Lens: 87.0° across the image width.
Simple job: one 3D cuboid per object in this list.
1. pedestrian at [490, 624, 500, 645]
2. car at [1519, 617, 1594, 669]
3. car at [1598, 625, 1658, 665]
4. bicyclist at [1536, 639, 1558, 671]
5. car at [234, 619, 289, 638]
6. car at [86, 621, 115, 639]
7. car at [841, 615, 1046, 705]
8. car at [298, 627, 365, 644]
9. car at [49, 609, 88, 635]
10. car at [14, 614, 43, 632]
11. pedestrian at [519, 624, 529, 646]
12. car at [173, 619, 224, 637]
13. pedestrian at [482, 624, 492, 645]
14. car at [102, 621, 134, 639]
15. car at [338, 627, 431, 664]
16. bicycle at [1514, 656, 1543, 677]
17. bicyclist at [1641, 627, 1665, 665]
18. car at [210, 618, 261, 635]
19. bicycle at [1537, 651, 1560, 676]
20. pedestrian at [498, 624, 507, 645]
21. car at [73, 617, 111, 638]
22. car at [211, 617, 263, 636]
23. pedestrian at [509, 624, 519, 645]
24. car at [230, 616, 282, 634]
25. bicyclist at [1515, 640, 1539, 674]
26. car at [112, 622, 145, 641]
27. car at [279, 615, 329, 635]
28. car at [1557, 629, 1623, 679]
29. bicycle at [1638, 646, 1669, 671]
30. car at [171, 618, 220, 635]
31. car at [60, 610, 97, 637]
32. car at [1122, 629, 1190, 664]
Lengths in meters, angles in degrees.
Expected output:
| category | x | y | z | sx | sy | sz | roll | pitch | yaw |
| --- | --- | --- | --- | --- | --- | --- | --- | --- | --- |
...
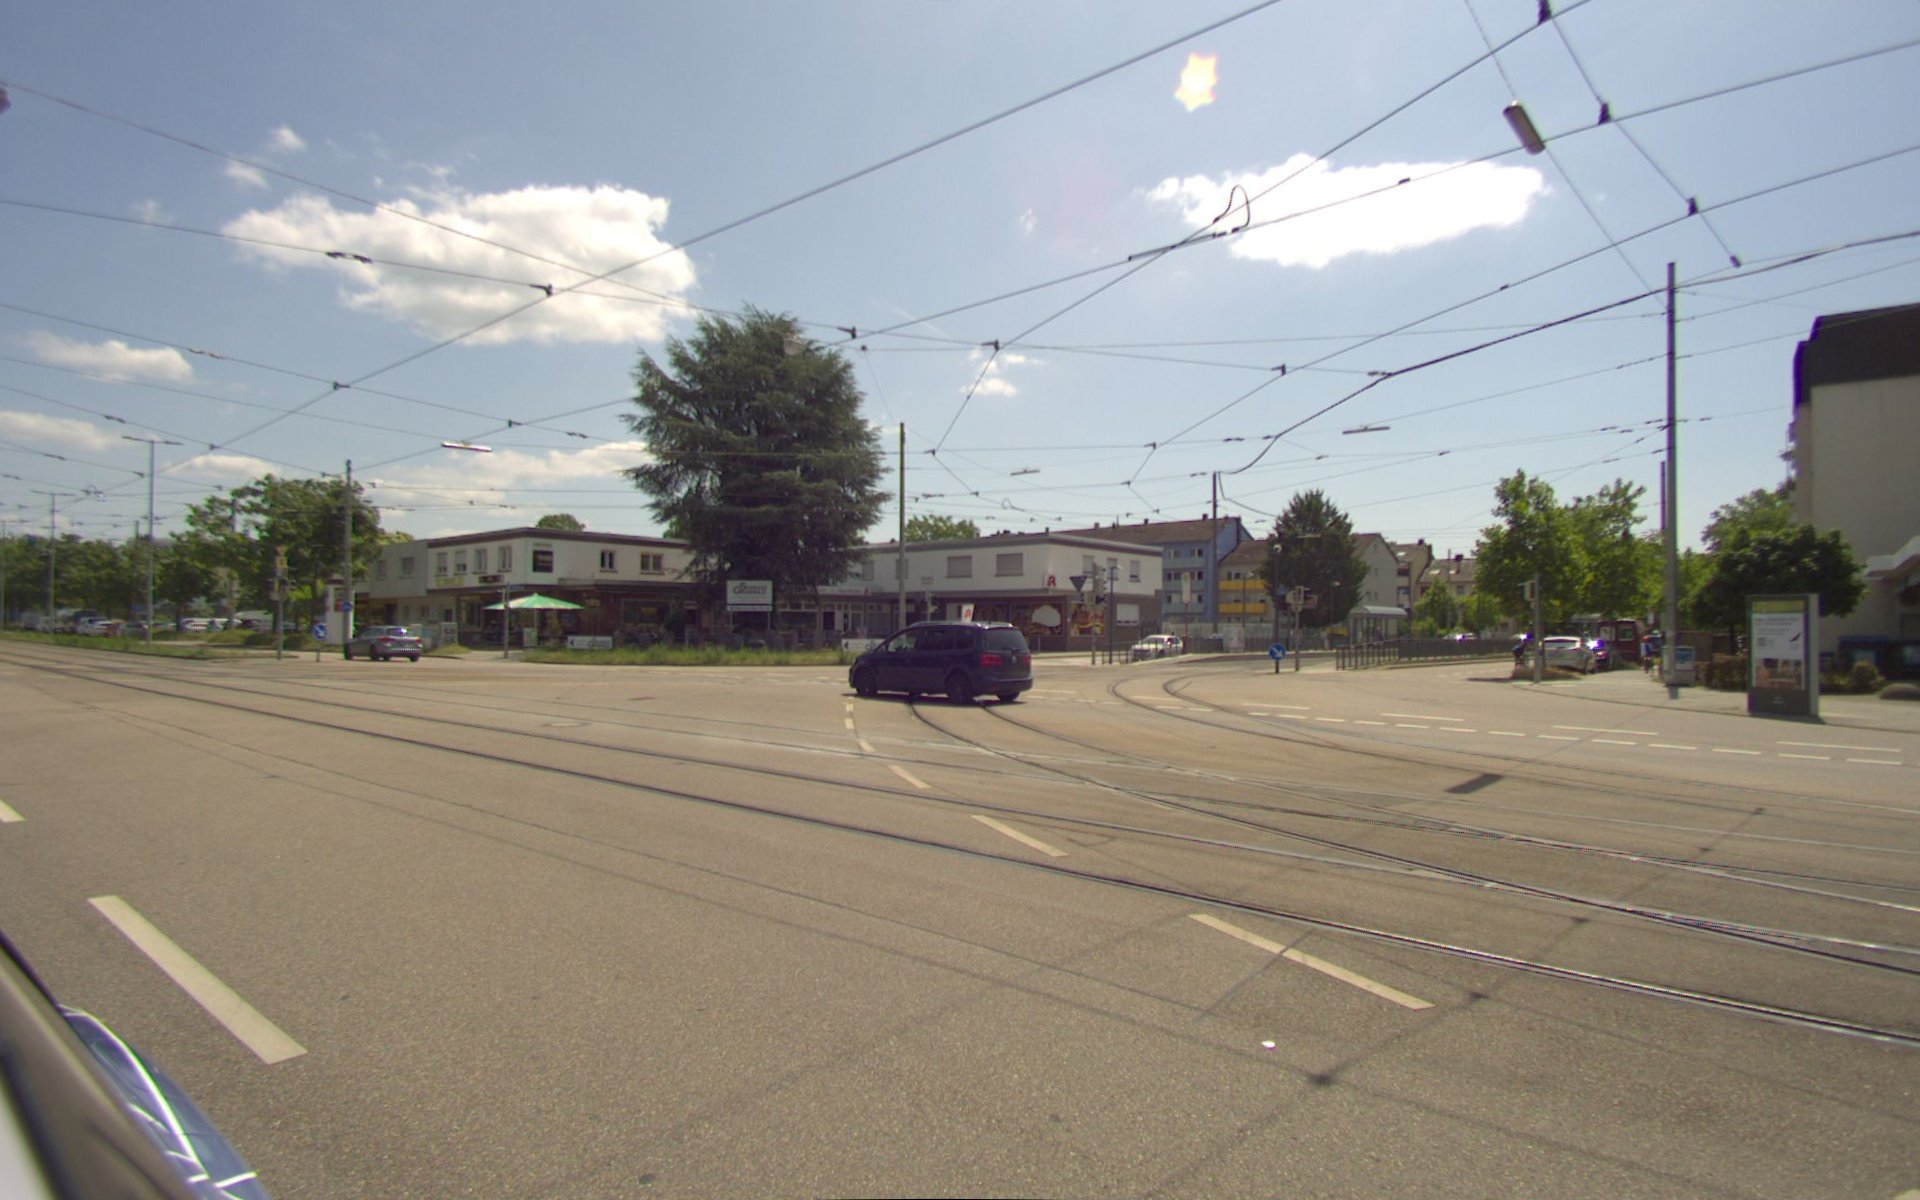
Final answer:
| category | x | y | z | sx | sy | sz | roll | pitch | yaw |
| --- | --- | --- | --- | --- | --- | --- | --- | --- | --- |
| pedestrian | -28.461 | 2.119 | 61.905 | 0.528 | 1.278 | 0.340 | -1 | -3 | 43 |
| car | 23.443 | 1.683 | 39.716 | 1.998 | 1.927 | 3.947 | -1 | -3 | 39 |
| car | 34.701 | 2.322 | 52.524 | 2.000 | 2.029 | 3.944 | -1 | -3 | 42 |
| bicyclist | 27.592 | 2.584 | 47.531 | 0.737 | 1.498 | 0.842 | 0 | -4 | 41 |
| car | -66.437 | 2.755 | 96.322 | 1.878 | 1.749 | 3.945 | -1 | -2 | 41 |
| car | -79.365 | 2.735 | 93.405 | 4.358 | 1.551 | 1.483 | 0 | 0 | 42 |
| car | -0.426 | 1.196 | 21.139 | 4.278 | 1.696 | 1.705 | -1 | -3 | 42 |
| car | -52.601 | 2.972 | 84.745 | 1.906 | 1.445 | 4.425 | -1 | -3 | 43 |
| car | -94.689 | 2.259 | 107.481 | 6.699 | 2.631 | 2.129 | 0 | 0 | 40 |
| car | -115.478 | 2.886 | 125.426 | 4.484 | 2.117 | 2.046 | 0 | 0 | 39 |
| pedestrian | -26.198 | 2.112 | 60.806 | 0.452 | 1.278 | 0.337 | -1 | -3 | 43 |
| car | -81.167 | 2.956 | 107.870 | 1.802 | 1.749 | 3.945 | 0 | -4 | 41 |
| pedestrian | -29.273 | 2.118 | 62.681 | 0.532 | 1.278 | 0.349 | -1 | -3 | 41 |
| car | -75.516 | 2.694 | 90.740 | 3.644 | 1.551 | 1.485 | 0 | 0 | 38 |
| car | -24.365 | 1.913 | 42.801 | 4.398 | 1.482 | 1.973 | -1 | -3 | 40 |
| bicycle | 24.978 | 2.937 | 44.450 | 2.223 | 0.888 | 0.419 | 5 | -4 | -43 |
| bicyclist | 27.714 | 1.824 | 40.473 | 0.836 | 1.479 | 0.657 | 5 | -4 | -45 |
| car | -75.791 | 2.787 | 105.873 | 1.902 | 1.749 | 3.945 | -1 | -2 | 41 |
| bicycle | 27.747 | 3.000 | 47.716 | 0.517 | 1.109 | 2.226 | 0 | -4 | 41 |
| pedestrian | -27.654 | 2.107 | 61.172 | 0.501 | 1.278 | 0.315 | -1 | -3 | 41 |
| car | -84.197 | 2.654 | 98.159 | 4.886 | 1.851 | 2.128 | 0 | 0 | 41 |
| car | -74.180 | 2.761 | 103.838 | 1.802 | 1.749 | 3.945 | 0 | -4 | 41 |
| pedestrian | -27.338 | 2.115 | 62.061 | 0.400 | 1.255 | 0.382 | -1 | -3 | 41 |
| car | -99.520 | 3.567 | 143.162 | 2.257 | 2.500 | 5.628 | -1 | -2 | 38 |
| bicyclist | 24.819 | 2.485 | 44.285 | 0.950 | 1.433 | 0.631 | 5 | -4 | -43 |
| car | -71.667 | 2.694 | 87.206 | 4.550 | 1.551 | 1.560 | 0 | 0 | 42 |
| car | -78.688 | 3.048 | 121.512 | 1.849 | 2.241 | 4.595 | 0 | -3 | 38 |
| car | 27.515 | 2.381 | 44.139 | 1.998 | 2.029 | 3.947 | 0 | -3 | 39 |
| bicycle | 27.794 | 2.336 | 40.538 | 0.672 | 0.942 | 2.224 | -1 | -4 | 44 |
| car | -86.677 | 2.976 | 114.782 | 1.802 | 1.749 | 4.145 | 0 | -4 | 41 |
| car | -88.758 | 2.310 | 101.915 | 5.031 | 2.631 | 2.128 | 0 | 0 | 41 |
| car | 10.606 | 2.528 | 54.514 | 1.899 | 1.738 | 3.800 | 0 | -4 | 42 |
